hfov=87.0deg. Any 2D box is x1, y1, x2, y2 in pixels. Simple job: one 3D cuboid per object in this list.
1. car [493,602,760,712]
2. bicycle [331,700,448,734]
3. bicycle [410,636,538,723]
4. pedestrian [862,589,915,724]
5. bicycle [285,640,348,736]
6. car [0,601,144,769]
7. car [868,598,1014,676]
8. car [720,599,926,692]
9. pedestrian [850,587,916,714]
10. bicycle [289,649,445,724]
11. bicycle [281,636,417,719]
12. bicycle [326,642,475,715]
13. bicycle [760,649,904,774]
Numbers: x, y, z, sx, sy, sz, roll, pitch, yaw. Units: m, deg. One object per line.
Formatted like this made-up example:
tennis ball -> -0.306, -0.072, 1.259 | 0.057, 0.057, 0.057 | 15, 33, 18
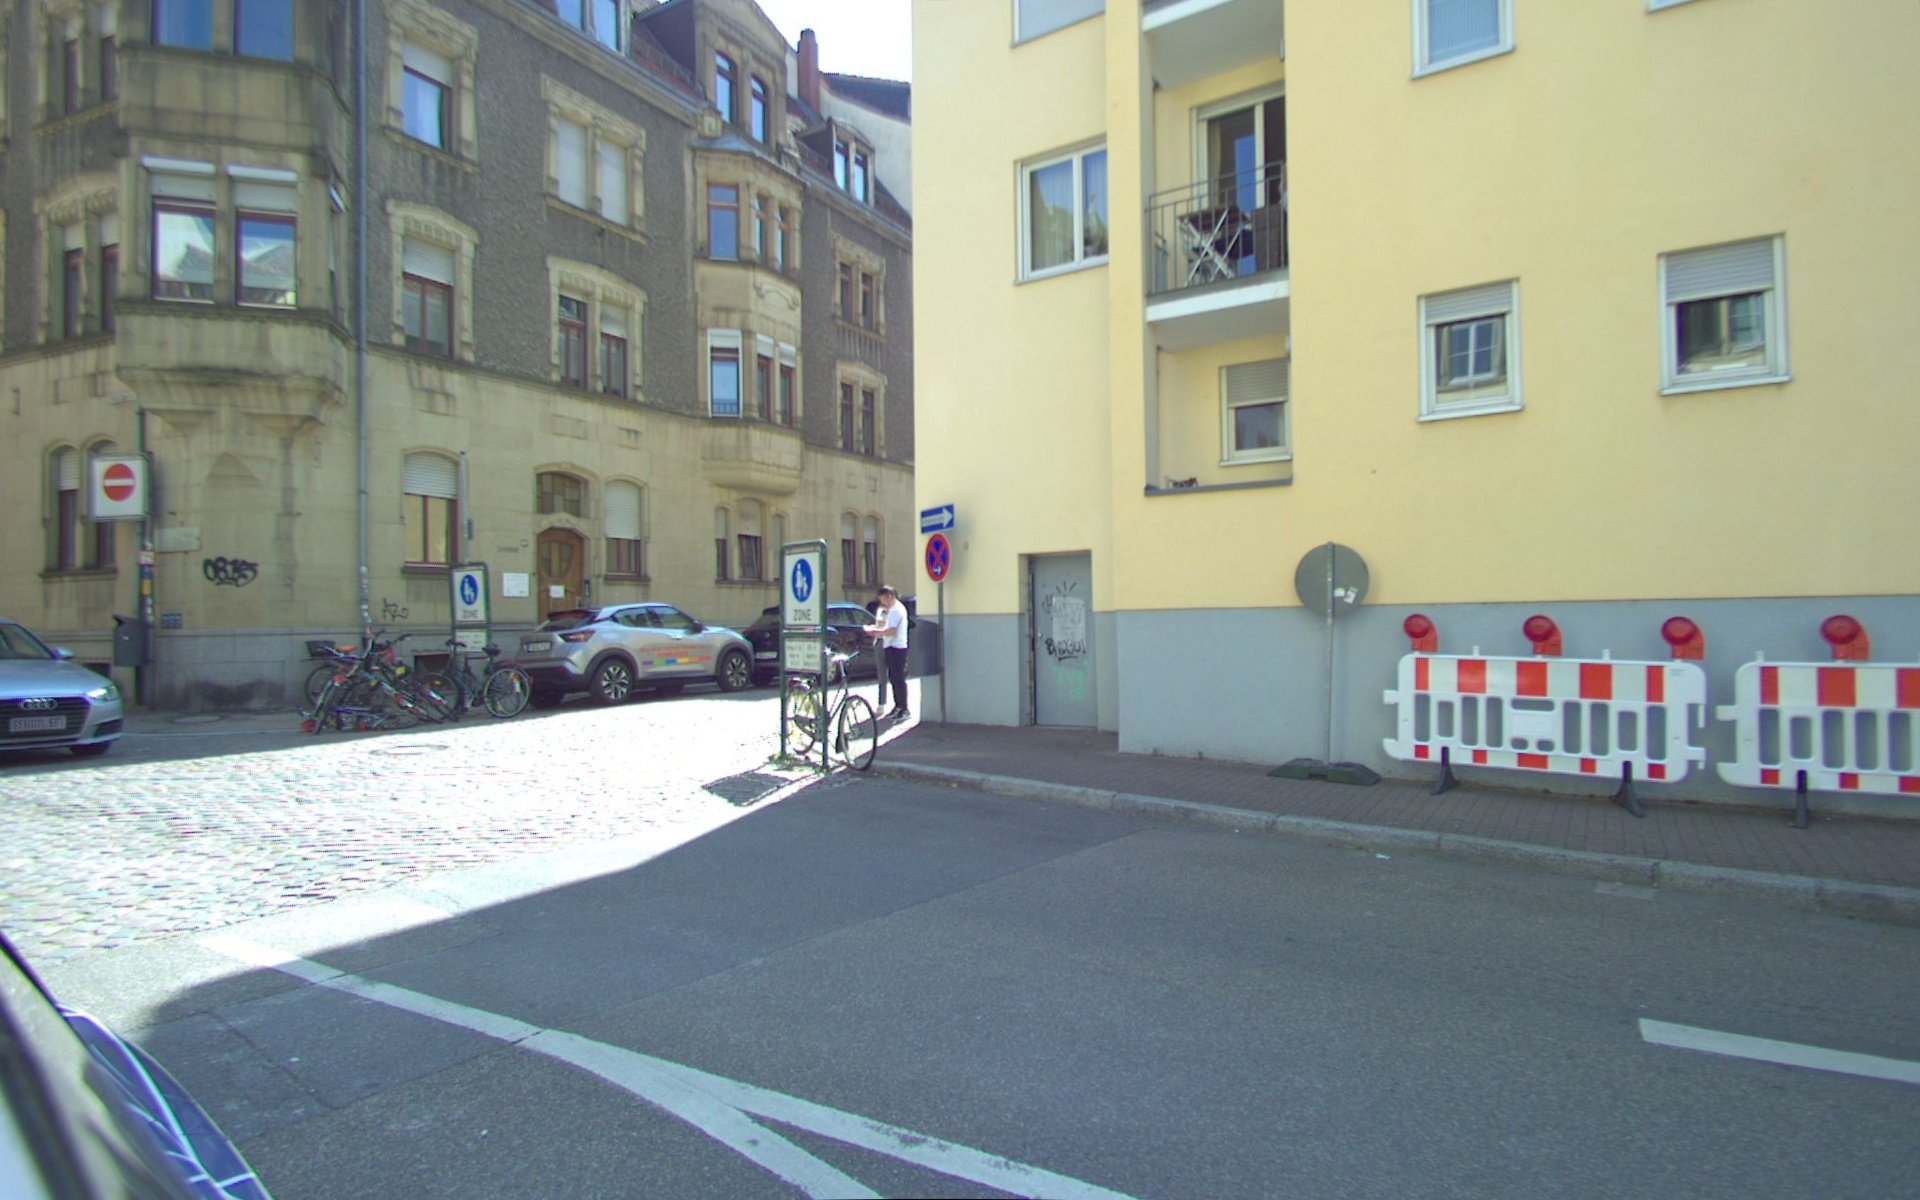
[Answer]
car -> -5.253, 0.844, 16.413 | 1.846, 1.556, 3.887 | -2, -1, 30
bicycle -> -7.316, 1.485, 12.975 | 1.062, 0.290, 1.124 | 1, -2, -44
bicycle -> -6.603, 1.080, 13.756 | 1.621, 1.094, 0.285 | -3, -3, 4
pedestrian -> -0.886, 0.687, 12.646 | 0.487, 1.630, 0.655 | -1, 0, 11
bicycle -> -8.027, 1.063, 12.596 | 0.281, 1.094, 1.643 | -4, 1, -44
car -> -10.446, 0.810, 10.233 | 4.362, 1.503, 1.860 | -1, -1, 28
car -> -0.356, 0.809, 23.882 | 1.564, 1.648, 3.817 | 0, 0, 34
car -> -2.569, 0.836, 19.841 | 1.846, 1.556, 3.957 | -4, -2, 32
pedestrian -> -1.015, 0.655, 13.421 | 0.683, 1.630, 0.754 | -1, -1, 12
bicycle -> -7.686, 1.120, 13.136 | 1.630, 1.081, 0.287 | 0, 43, 21
bicycle -> -8.915, 1.098, 14.829 | 0.494, 1.094, 1.625 | 3, 1, 31
bicycle -> -7.505, 1.056, 13.596 | 1.630, 1.081, 0.287 | 0, 43, 21
bicycle -> -1.297, 1.041, 9.917 | 0.386, 1.087, 1.912 | 1, -2, -41
